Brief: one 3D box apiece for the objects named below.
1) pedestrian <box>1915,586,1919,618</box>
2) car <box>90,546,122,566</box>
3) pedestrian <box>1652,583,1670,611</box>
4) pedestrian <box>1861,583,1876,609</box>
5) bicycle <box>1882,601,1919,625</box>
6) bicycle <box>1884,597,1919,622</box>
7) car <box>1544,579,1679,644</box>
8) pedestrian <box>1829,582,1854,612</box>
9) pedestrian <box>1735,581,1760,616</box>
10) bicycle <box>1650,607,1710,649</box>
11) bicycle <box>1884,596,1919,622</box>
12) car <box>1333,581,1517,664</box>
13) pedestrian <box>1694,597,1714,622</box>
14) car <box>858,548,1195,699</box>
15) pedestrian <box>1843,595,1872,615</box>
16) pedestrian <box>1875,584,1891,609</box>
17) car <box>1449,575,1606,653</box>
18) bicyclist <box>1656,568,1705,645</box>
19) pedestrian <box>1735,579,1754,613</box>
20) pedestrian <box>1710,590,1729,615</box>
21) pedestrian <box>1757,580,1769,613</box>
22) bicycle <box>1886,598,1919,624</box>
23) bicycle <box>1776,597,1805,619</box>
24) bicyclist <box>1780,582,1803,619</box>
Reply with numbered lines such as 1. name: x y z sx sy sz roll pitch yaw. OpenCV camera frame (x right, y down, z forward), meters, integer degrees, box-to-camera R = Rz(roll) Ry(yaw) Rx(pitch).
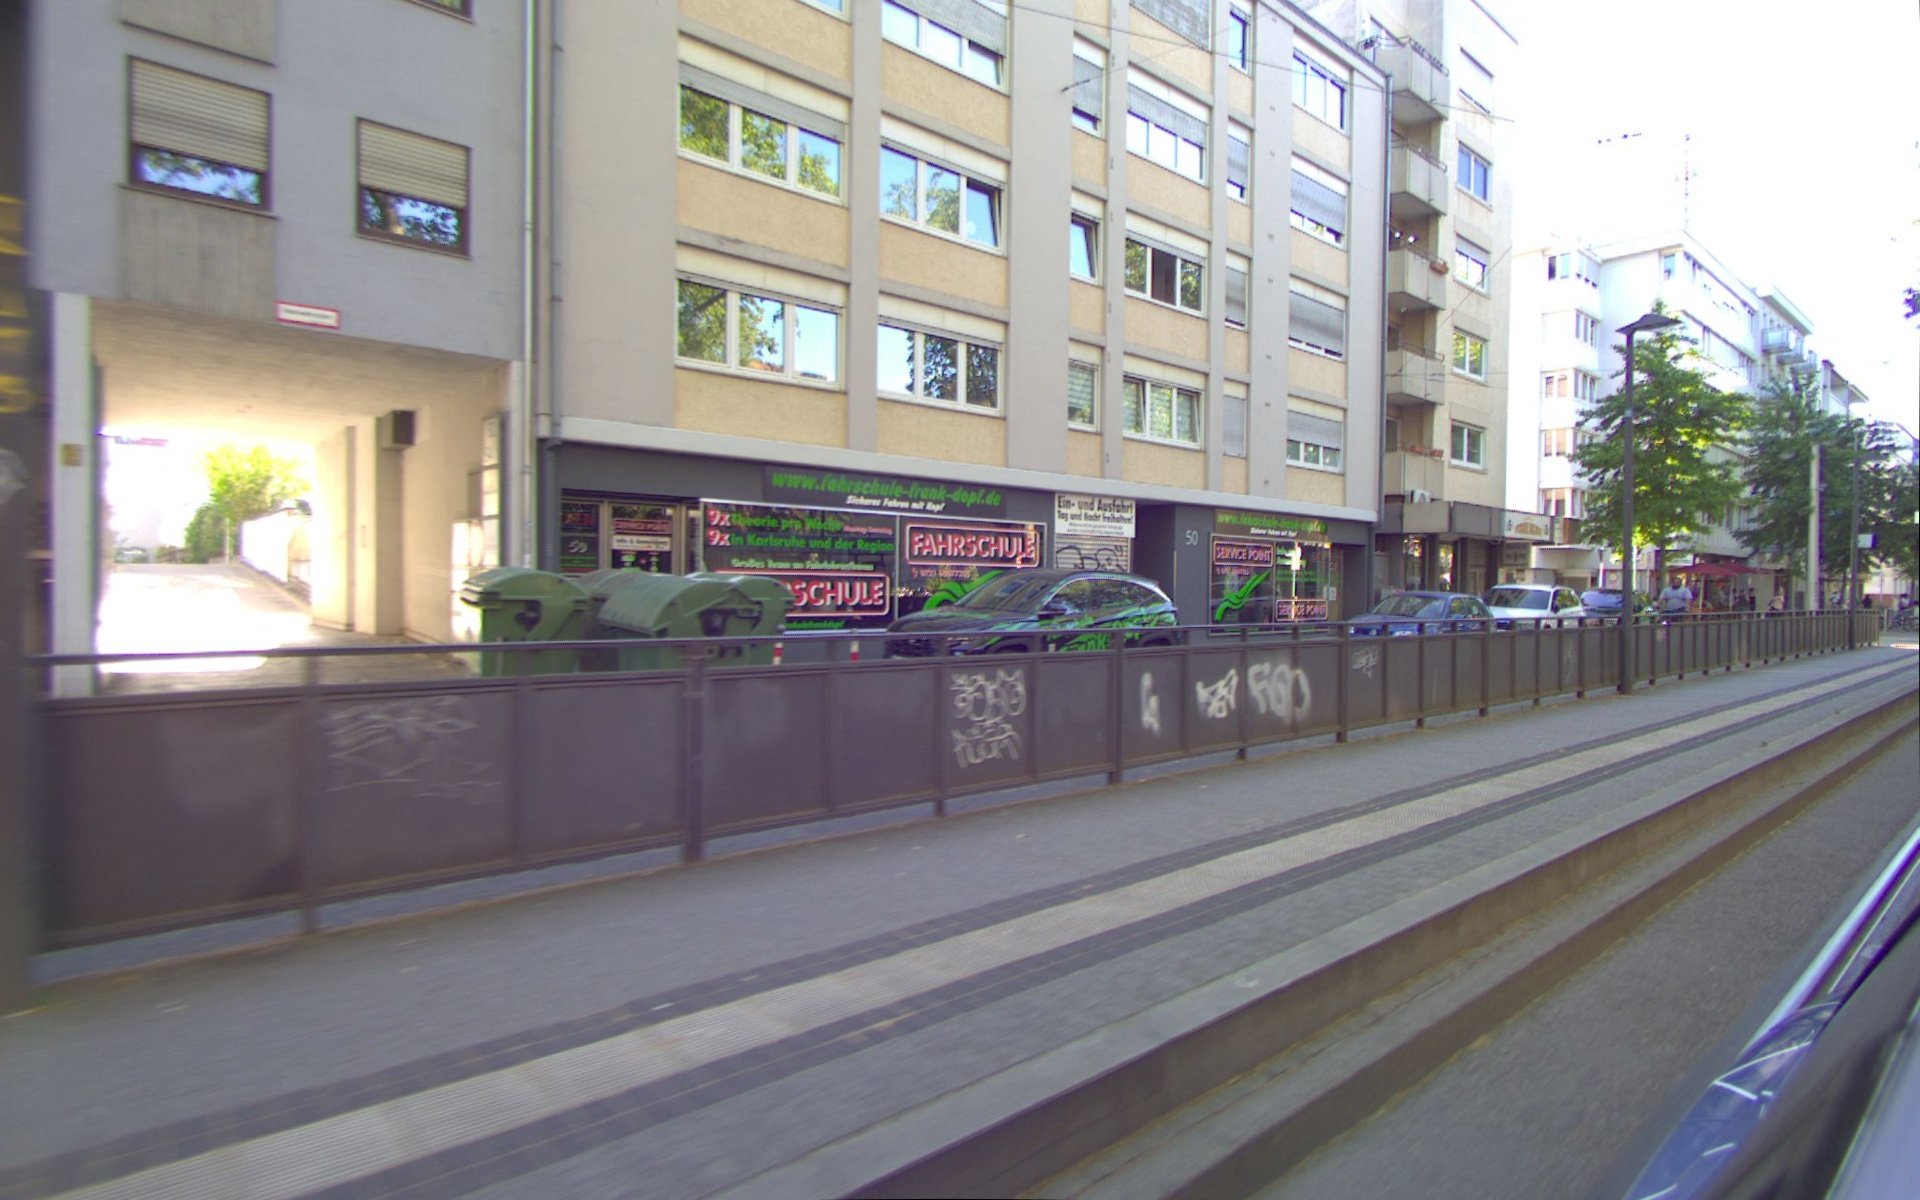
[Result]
1. pedestrian: 56.032 0.126 58.873 0.534 1.875 0.658 0 0 27
2. car: -60.259 -3.065 71.401 1.677 1.266 3.759 -1 1 -40
3. pedestrian: 32.342 -0.151 46.687 0.703 1.303 0.536 -1 0 -40
4. pedestrian: 61.793 -0.297 68.814 0.919 1.698 0.597 -1 3 -43
5. bicycle: 41.354 0.560 44.010 0.473 1.006 1.817 -1 1 -43
6. bicycle: 42.429 0.413 45.092 1.814 1.114 0.474 0 1 42
7. car: 18.006 0.255 27.905 4.367 1.636 1.997 -1 1 -41
8. pedestrian: 52.057 -0.176 59.747 0.975 1.806 0.593 0 0 -6
9. pedestrian: 38.228 -0.075 49.150 0.666 1.680 0.814 0 0 -36
10. bicycle: 17.856 0.670 25.097 1.905 0.949 0.790 -1 1 -41
11. bicycle: 42.015 0.405 44.636 1.814 1.114 0.490 0 1 42
12. car: 9.235 0.368 19.949 4.173 1.458 1.747 -1 1 -41
13. pedestrian: 34.347 0.432 46.720 0.513 1.092 0.642 -1 0 -43
14. car: 0.975 0.215 13.124 4.321 1.636 1.860 -1 1 -41
15. pedestrian: 46.851 0.255 52.832 0.648 1.040 1.001 0 1 0
16. pedestrian: 62.293 -0.220 68.284 0.855 1.657 0.643 0 3 -43
17. car: 13.097 0.263 23.243 4.338 1.626 1.803 -1 1 -41
18. bicyclist: 17.864 0.153 25.098 1.080 1.854 0.768 -1 0 -41
19. pedestrian: 42.353 -0.228 54.625 0.620 1.828 0.526 0 0 2
20. pedestrian: 36.103 0.115 48.123 0.513 1.190 0.659 -1 0 -43
21. pedestrian: 43.519 -0.188 54.853 0.481 1.818 0.432 0 0 -42
22. bicycle: 43.113 0.489 45.743 0.516 1.114 1.818 -1 2 -41
23. bicycle: 39.028 0.353 47.559 1.986 0.975 0.678 -1 1 -39
24. bicyclist: 39.155 0.003 47.666 0.948 1.739 0.678 -1 0 -39
